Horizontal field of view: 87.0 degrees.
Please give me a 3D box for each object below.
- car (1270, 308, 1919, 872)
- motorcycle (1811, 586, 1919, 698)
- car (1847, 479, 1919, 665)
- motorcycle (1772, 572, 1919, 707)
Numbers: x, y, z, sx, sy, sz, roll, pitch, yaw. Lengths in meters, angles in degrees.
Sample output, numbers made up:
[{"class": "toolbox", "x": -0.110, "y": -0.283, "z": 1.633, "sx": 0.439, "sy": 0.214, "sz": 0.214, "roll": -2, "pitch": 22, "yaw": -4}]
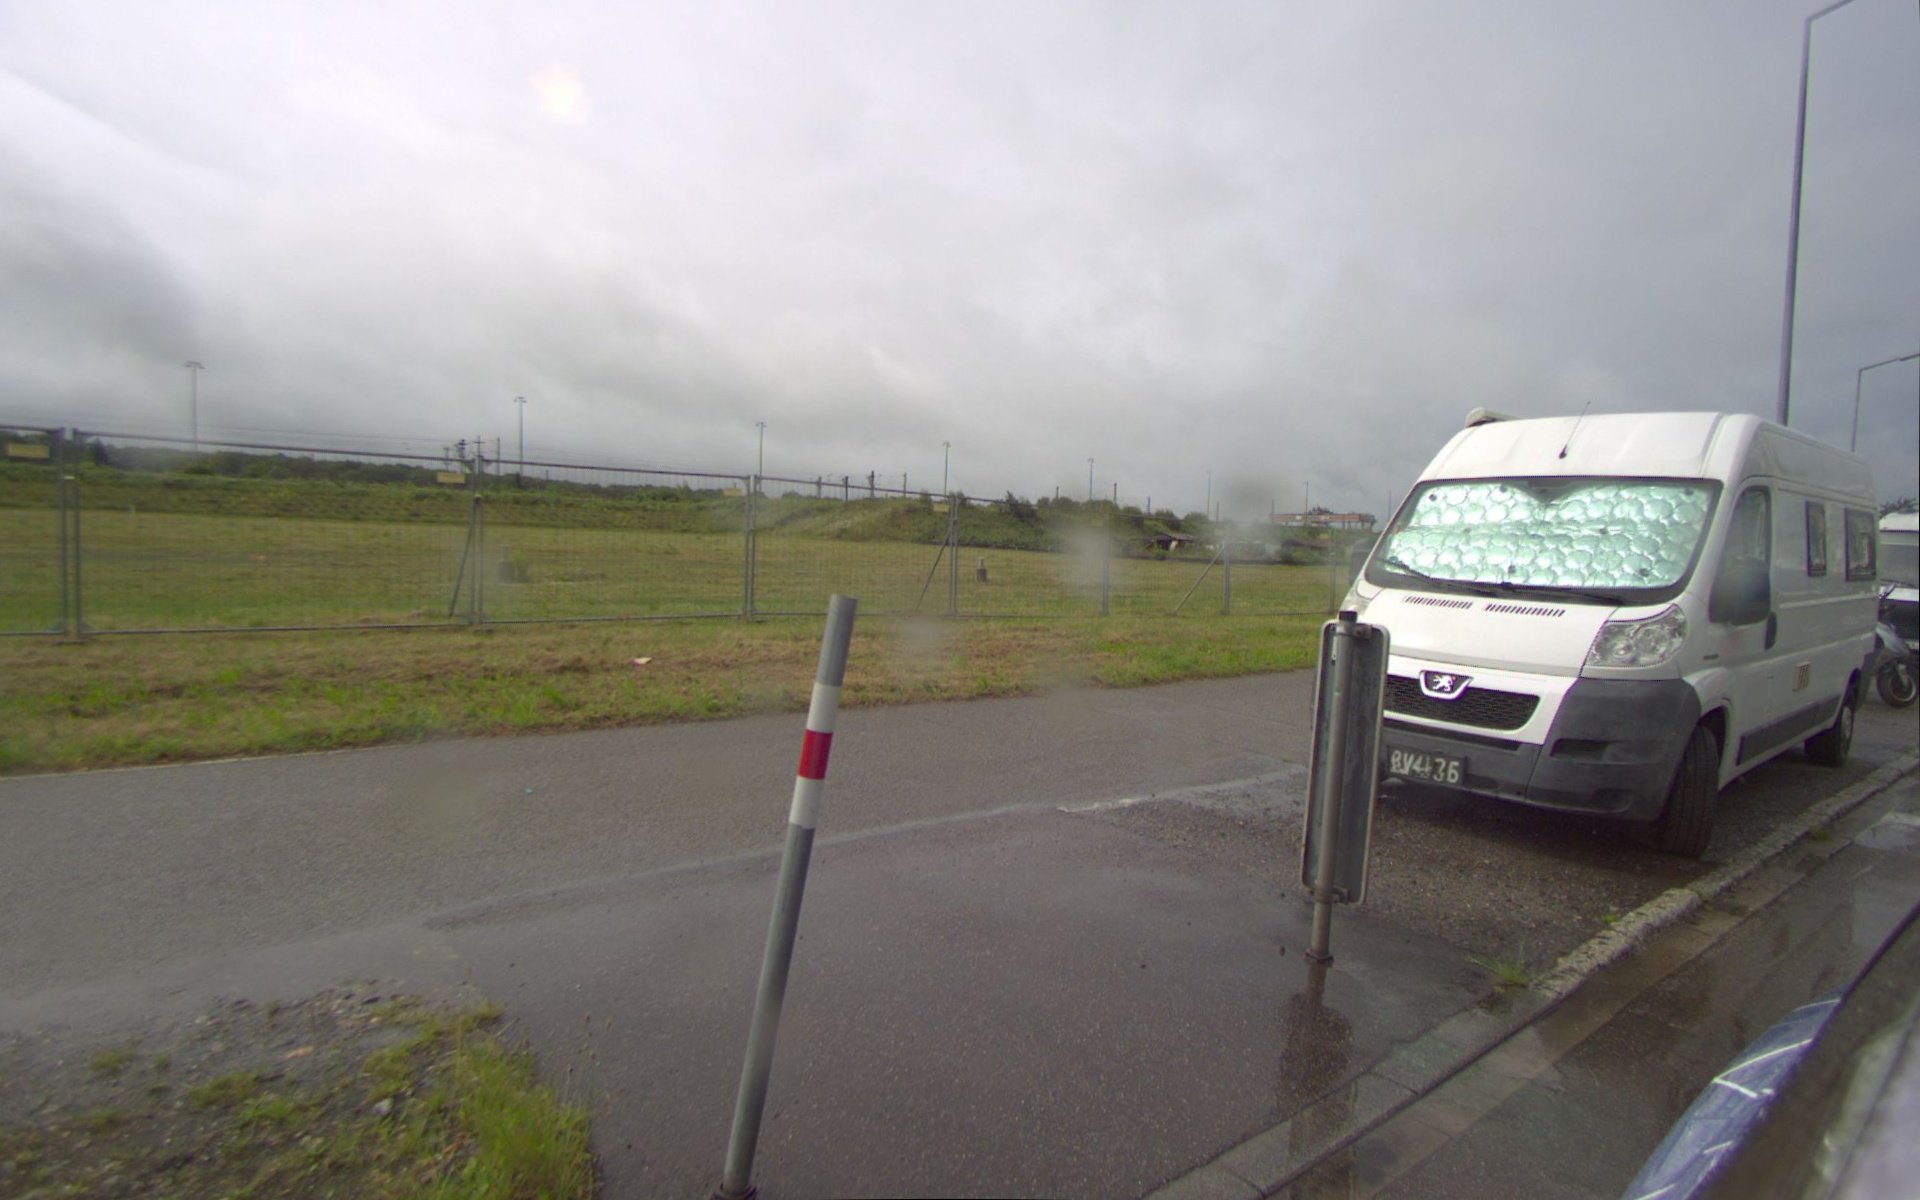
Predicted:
[{"class": "car", "x": 4.868, "y": -0.164, "z": 7.135, "sx": 5.841, "sy": 2.501, "sz": 2.098, "roll": -1, "pitch": 6, "yaw": -39}, {"class": "motorcycle", "x": 11.555, "y": 0.538, "z": 12.276, "sx": 1.663, "sy": 1.208, "sz": 0.643, "roll": 7, "pitch": 7, "yaw": 30}, {"class": "car", "x": 17.424, "y": -0.427, "z": 17.499, "sx": 5.184, "sy": 2.916, "sz": 2.151, "roll": -1, "pitch": 7, "yaw": -41}, {"class": "motorcycle", "x": 10.627, "y": 0.452, "z": 11.761, "sx": 1.636, "sy": 1.390, "sz": 0.714, "roll": 7, "pitch": 6, "yaw": 31}]
